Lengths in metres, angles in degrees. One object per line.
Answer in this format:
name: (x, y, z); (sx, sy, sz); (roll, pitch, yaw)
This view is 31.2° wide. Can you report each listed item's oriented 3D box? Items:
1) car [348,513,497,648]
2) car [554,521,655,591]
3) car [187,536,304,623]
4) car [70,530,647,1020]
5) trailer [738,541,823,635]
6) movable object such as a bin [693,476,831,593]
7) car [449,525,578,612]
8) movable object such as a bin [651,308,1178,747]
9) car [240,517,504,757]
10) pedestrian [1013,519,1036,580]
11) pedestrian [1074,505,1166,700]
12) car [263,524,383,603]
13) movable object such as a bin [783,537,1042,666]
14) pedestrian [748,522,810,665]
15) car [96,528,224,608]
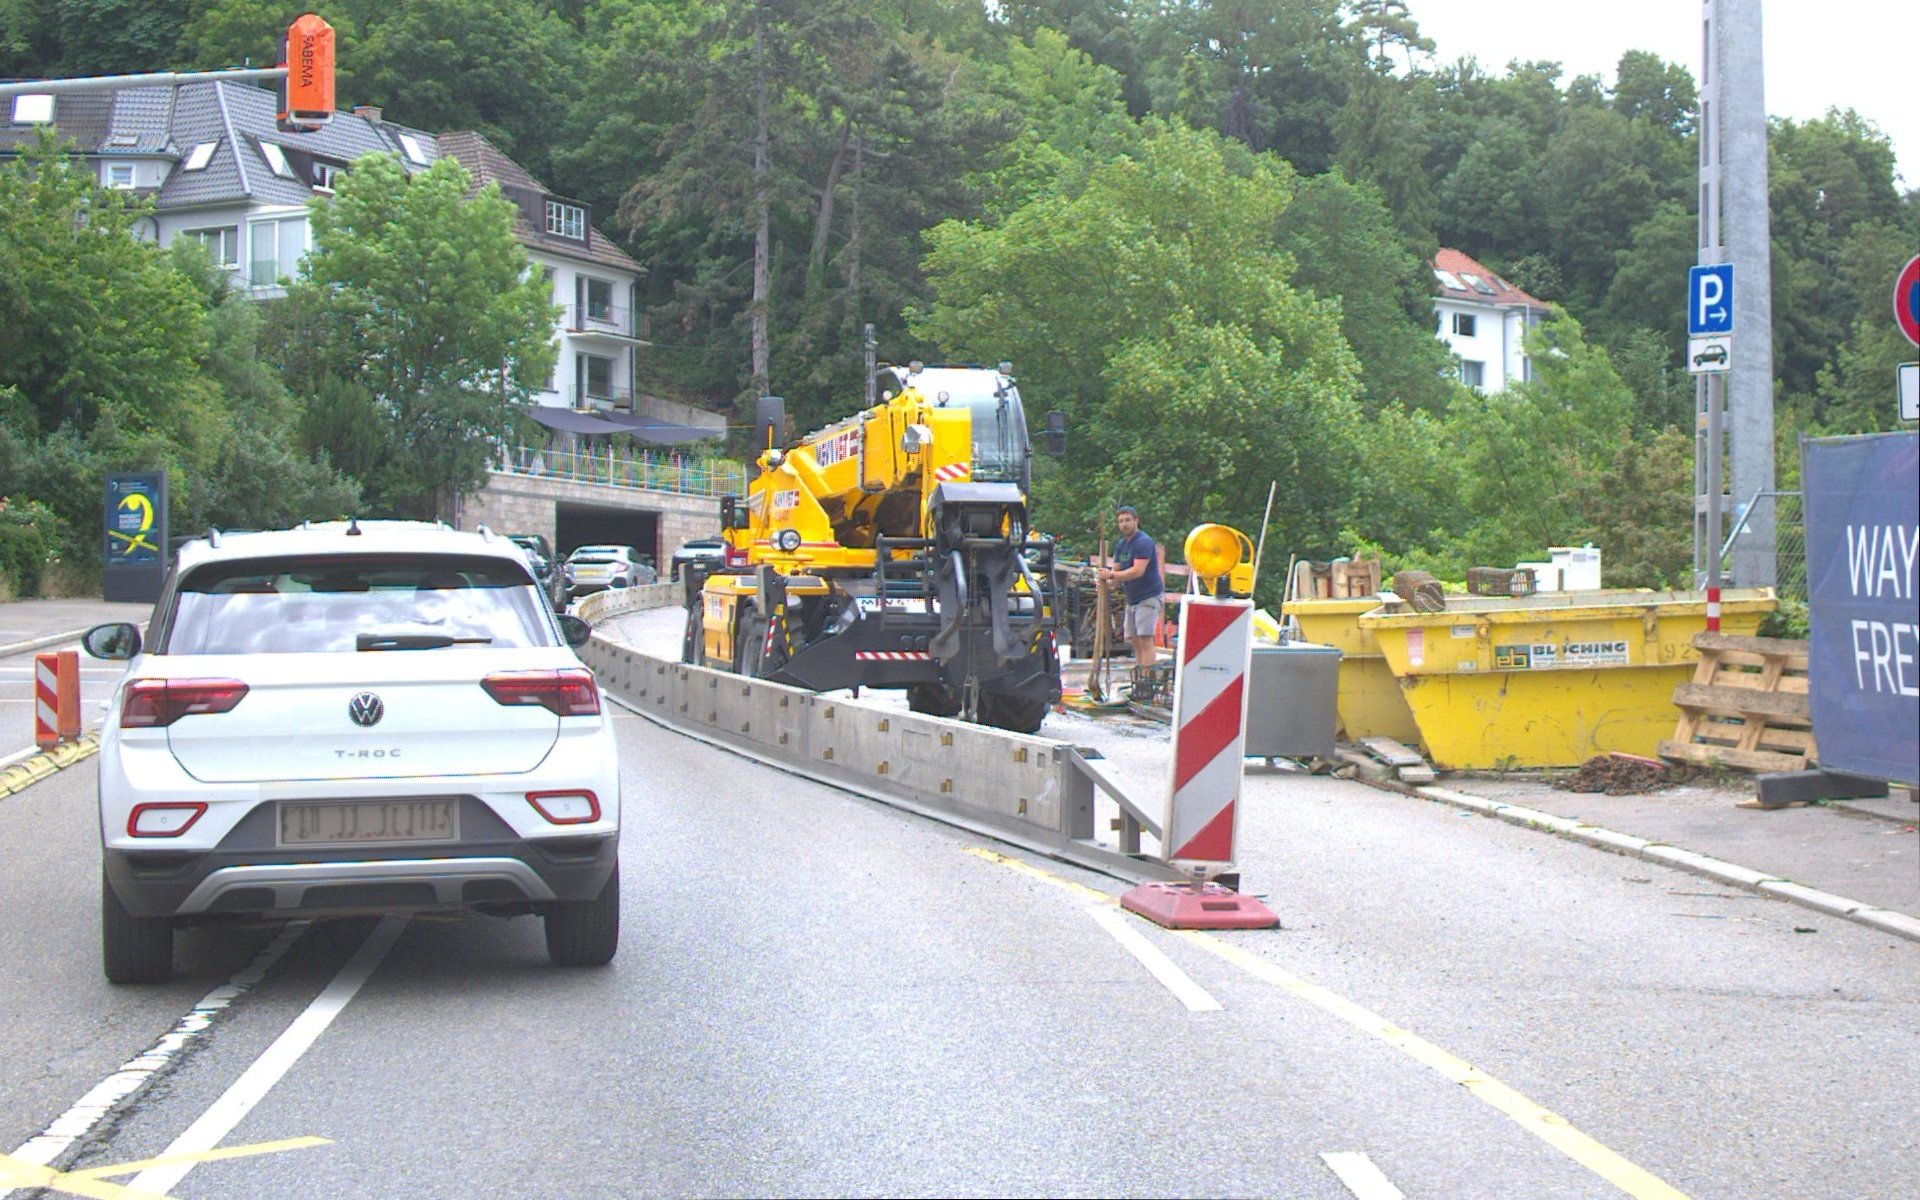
car: (-6.998, -0.279, 44.971); (1.809, 1.657, 4.001); (-1, 1, -8)
car: (-8.709, -1.094, 84.441); (1.810, 1.657, 4.000); (-1, 1, 4)
car: (-12.118, -0.365, 58.454); (1.671, 1.425, 3.588); (0, 1, -7)
car: (-2.345, 0.519, 13.069); (1.809, 1.526, 4.001); (-1, 1, -12)
trailer: (-2.944, -0.219, 56.740); (1.288, 1.470, 3.634); (1, 1, -1)
movable object such as a bin: (-4.651, -1.557, 81.363); (2.212, 2.653, 4.943); (1, 1, 9)
car: (-8.929, -0.652, 69.036); (1.810, 1.657, 4.000); (-1, 1, 4)
movable object such as a bin: (-0.644, -0.579, 28.098); (2.810, 3.060, 7.826); (1, 1, -12)
car: (-4.539, 0.222, 26.305); (1.809, 1.657, 4.001); (-1, 1, -11)
pedestrian: (2.053, -1.600, 108.669); (0.690, 1.900, 0.825); (0, 1, 2)
pedestrian: (1.488, 0.014, 31.946); (0.689, 1.788, 0.540); (0, 2, -20)
car: (-13.341, -0.786, 72.198); (1.841, 1.594, 4.264); (0, 1, -1)
movable object such as a bin: (-0.759, -0.042, 45.773); (2.373, 1.556, 7.101); (1, 1, -10)
pedestrian: (-2.192, -0.087, 41.630); (0.645, 1.696, 0.850); (1, 1, -8)
car: (-16.403, -0.673, 70.666); (1.794, 1.505, 4.001); (3, 1, -2)
